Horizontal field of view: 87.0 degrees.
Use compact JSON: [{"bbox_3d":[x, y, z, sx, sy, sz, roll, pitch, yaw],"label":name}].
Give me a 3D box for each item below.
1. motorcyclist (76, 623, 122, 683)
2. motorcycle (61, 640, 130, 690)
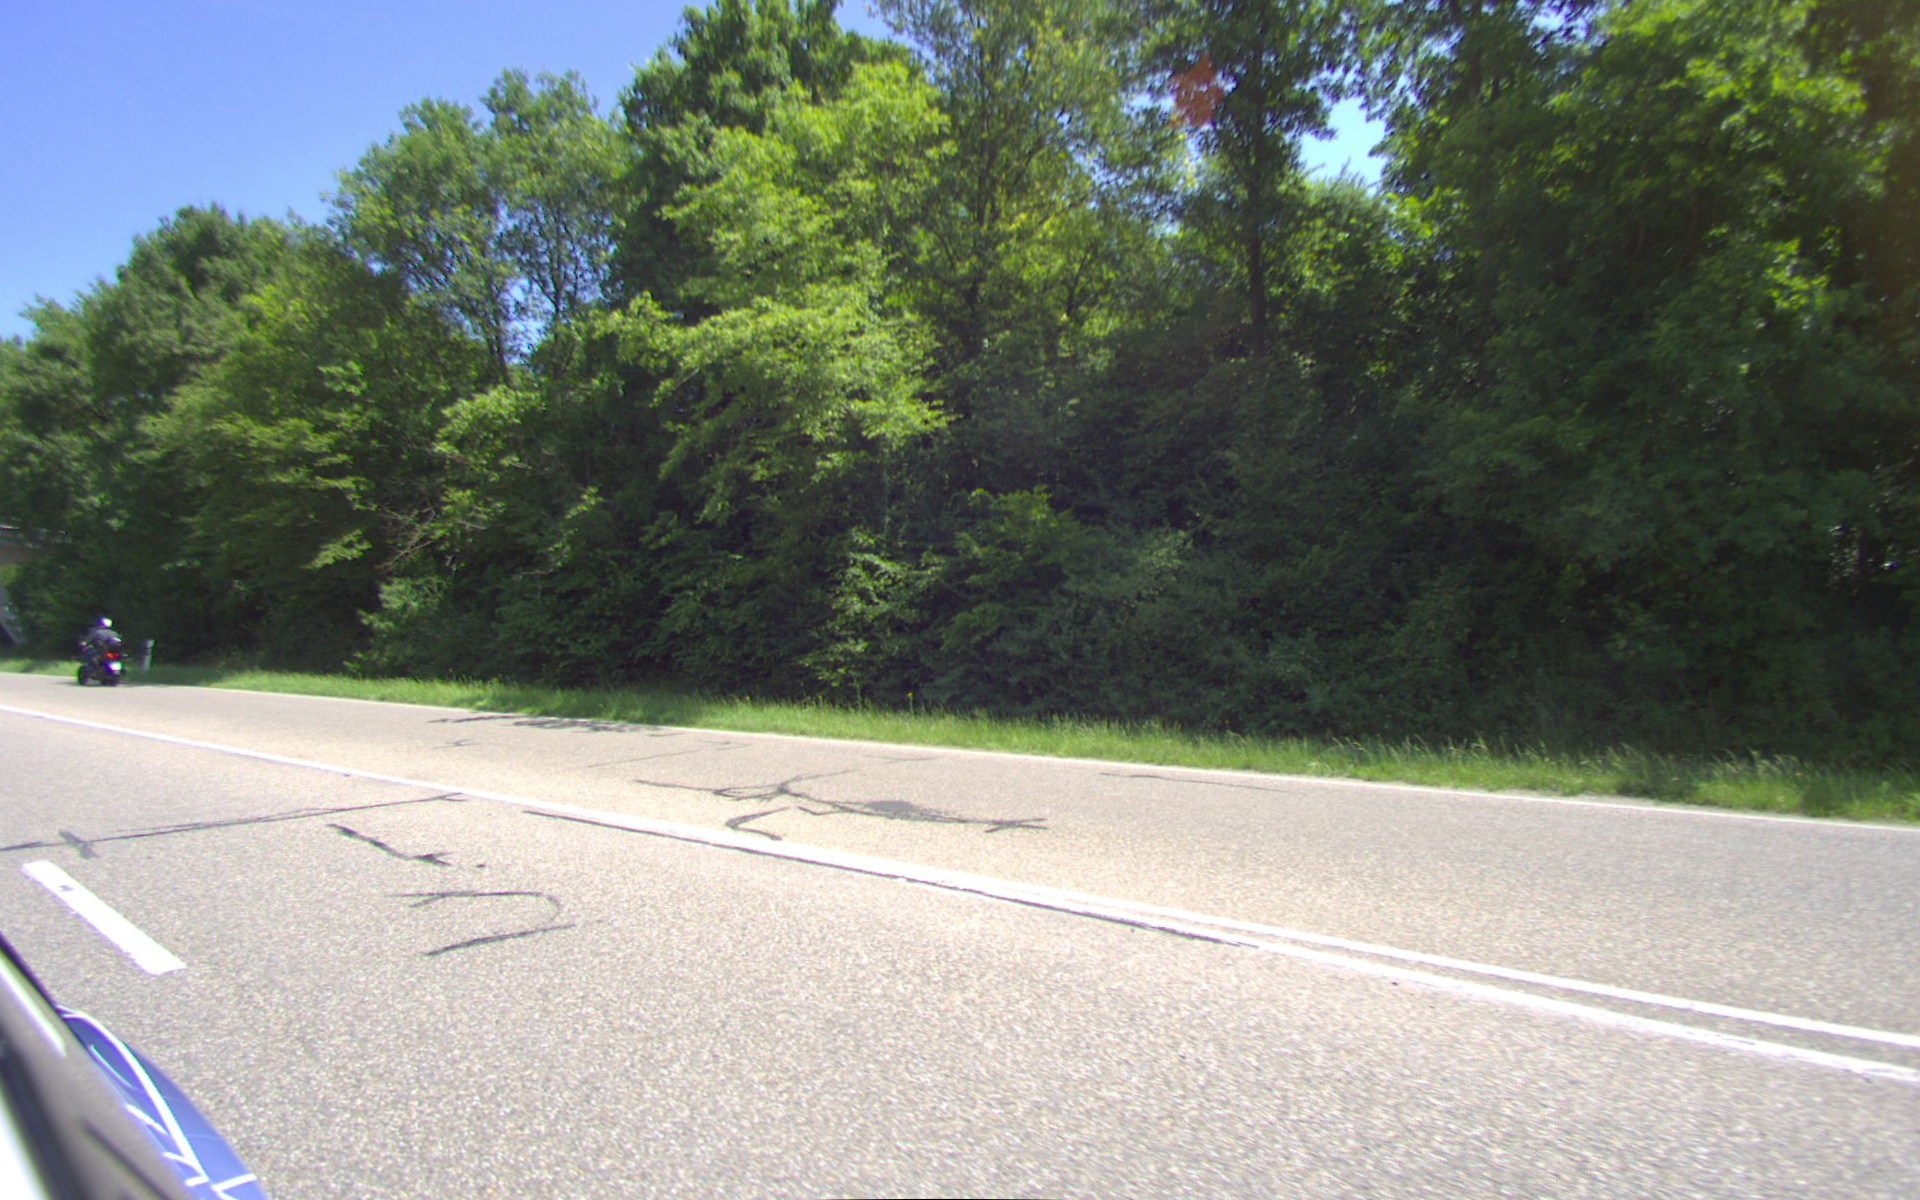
[{"bbox_3d":[-21.628,1.318,25.418,0.811,1.486,0.665,-1,-1,32],"label":"motorcyclist"},{"bbox_3d":[-21.801,1.615,25.516,2.224,1.183,0.665,-1,-1,32],"label":"motorcycle"}]
